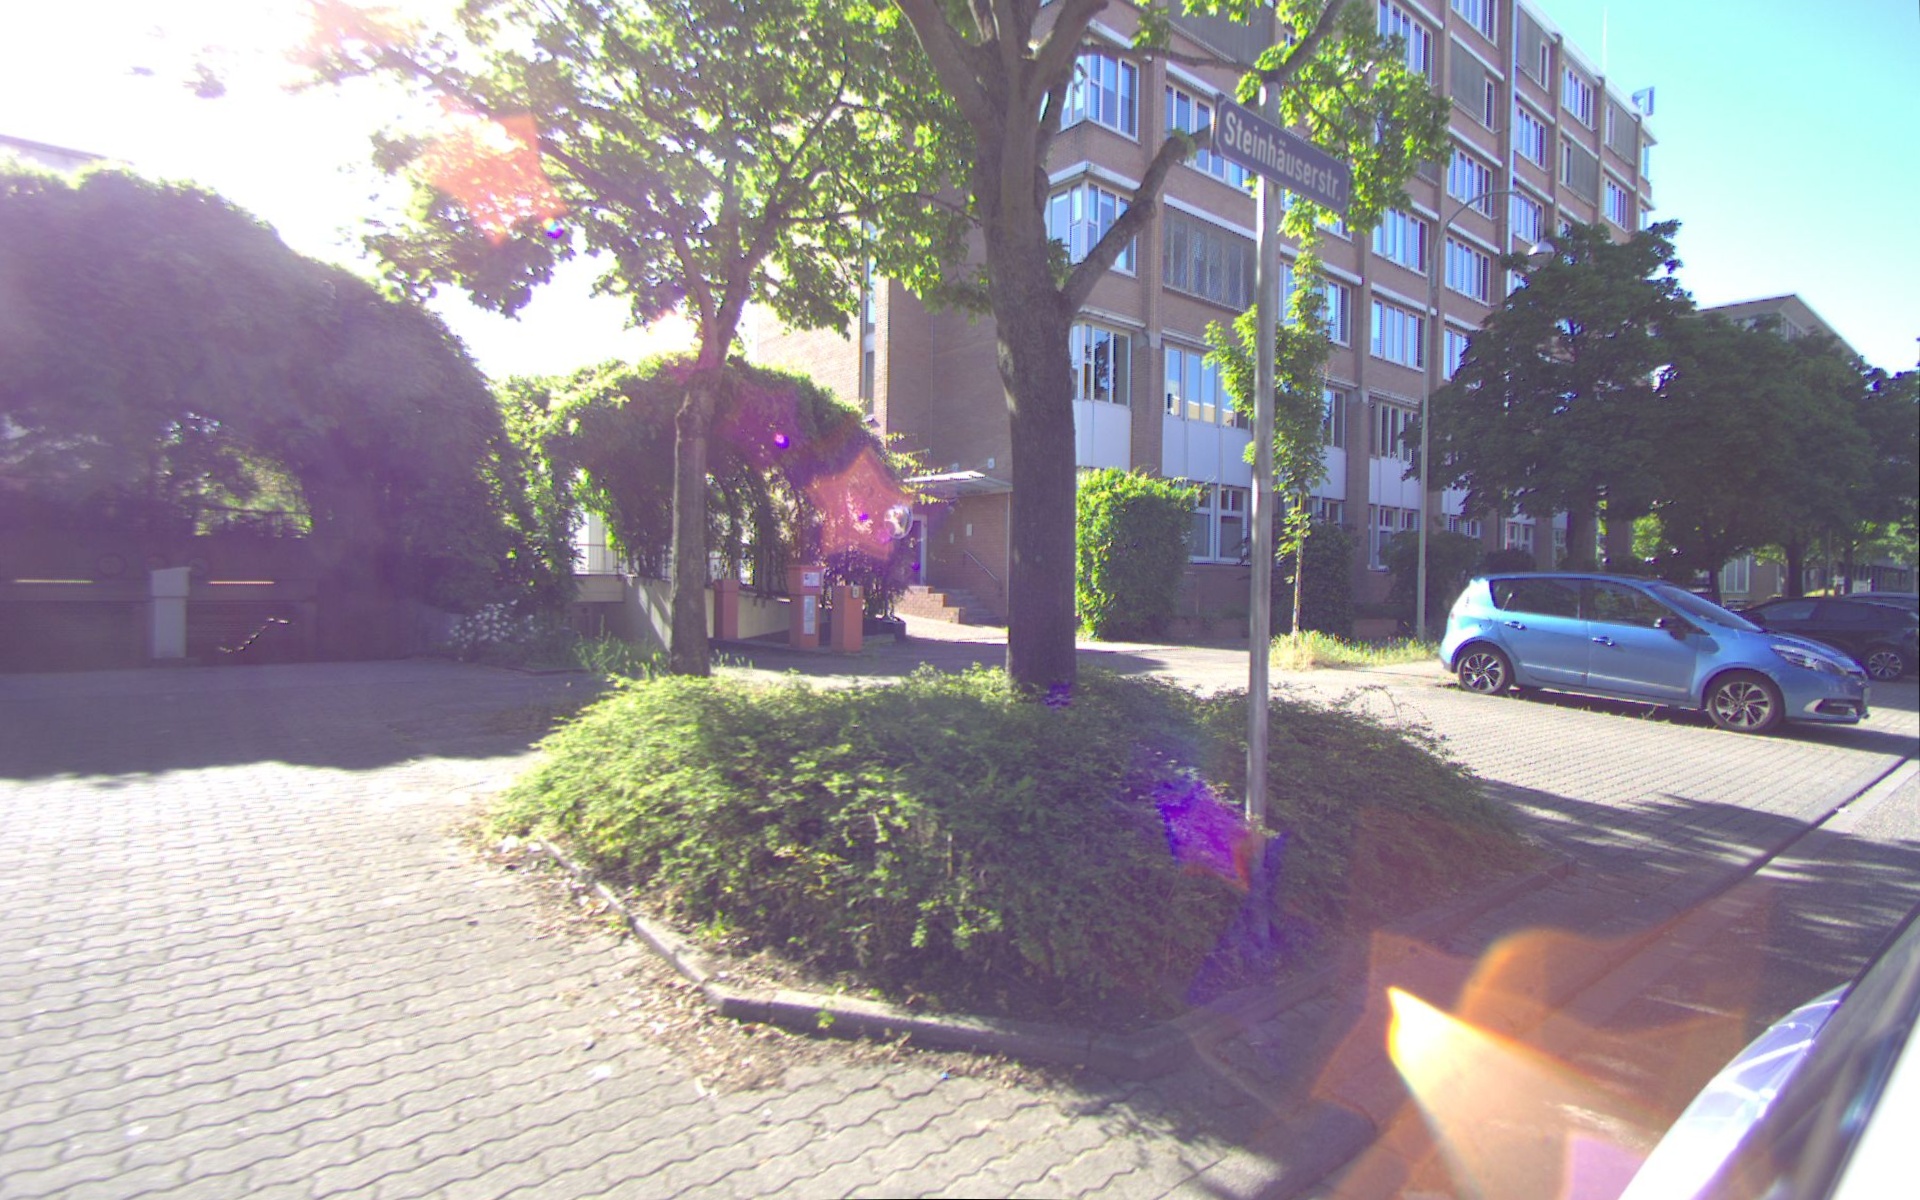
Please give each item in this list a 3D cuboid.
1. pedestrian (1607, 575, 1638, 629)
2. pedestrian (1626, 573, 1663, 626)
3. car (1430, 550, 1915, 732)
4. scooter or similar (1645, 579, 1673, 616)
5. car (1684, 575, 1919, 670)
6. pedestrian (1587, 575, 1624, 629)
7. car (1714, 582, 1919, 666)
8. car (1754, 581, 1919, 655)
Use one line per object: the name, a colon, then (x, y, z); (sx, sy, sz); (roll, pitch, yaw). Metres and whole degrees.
pedestrian: (19.307, 0.041, 29.492); (0.584, 1.539, 0.603); (0, 1, -43)
pedestrian: (19.671, -0.021, 29.095); (0.703, 1.476, 0.701); (0, 1, -43)
car: (8.359, 0.320, 12.248); (1.878, 1.637, 4.416); (0, 4, -40)
scooter or similar: (25.669, -0.097, 37.177); (0.549, 1.342, 1.777); (-1, 0, 44)
car: (16.479, 0.380, 19.437); (1.794, 1.501, 3.853); (1, 3, -43)
pedestrian: (18.962, 0.050, 29.732); (0.550, 1.572, 0.757); (0, 1, -43)
car: (18.000, 0.463, 20.696); (1.672, 1.425, 3.809); (1, 3, -40)
car: (21.869, 0.404, 24.188); (4.353, 1.617, 1.909); (3, 2, 44)
